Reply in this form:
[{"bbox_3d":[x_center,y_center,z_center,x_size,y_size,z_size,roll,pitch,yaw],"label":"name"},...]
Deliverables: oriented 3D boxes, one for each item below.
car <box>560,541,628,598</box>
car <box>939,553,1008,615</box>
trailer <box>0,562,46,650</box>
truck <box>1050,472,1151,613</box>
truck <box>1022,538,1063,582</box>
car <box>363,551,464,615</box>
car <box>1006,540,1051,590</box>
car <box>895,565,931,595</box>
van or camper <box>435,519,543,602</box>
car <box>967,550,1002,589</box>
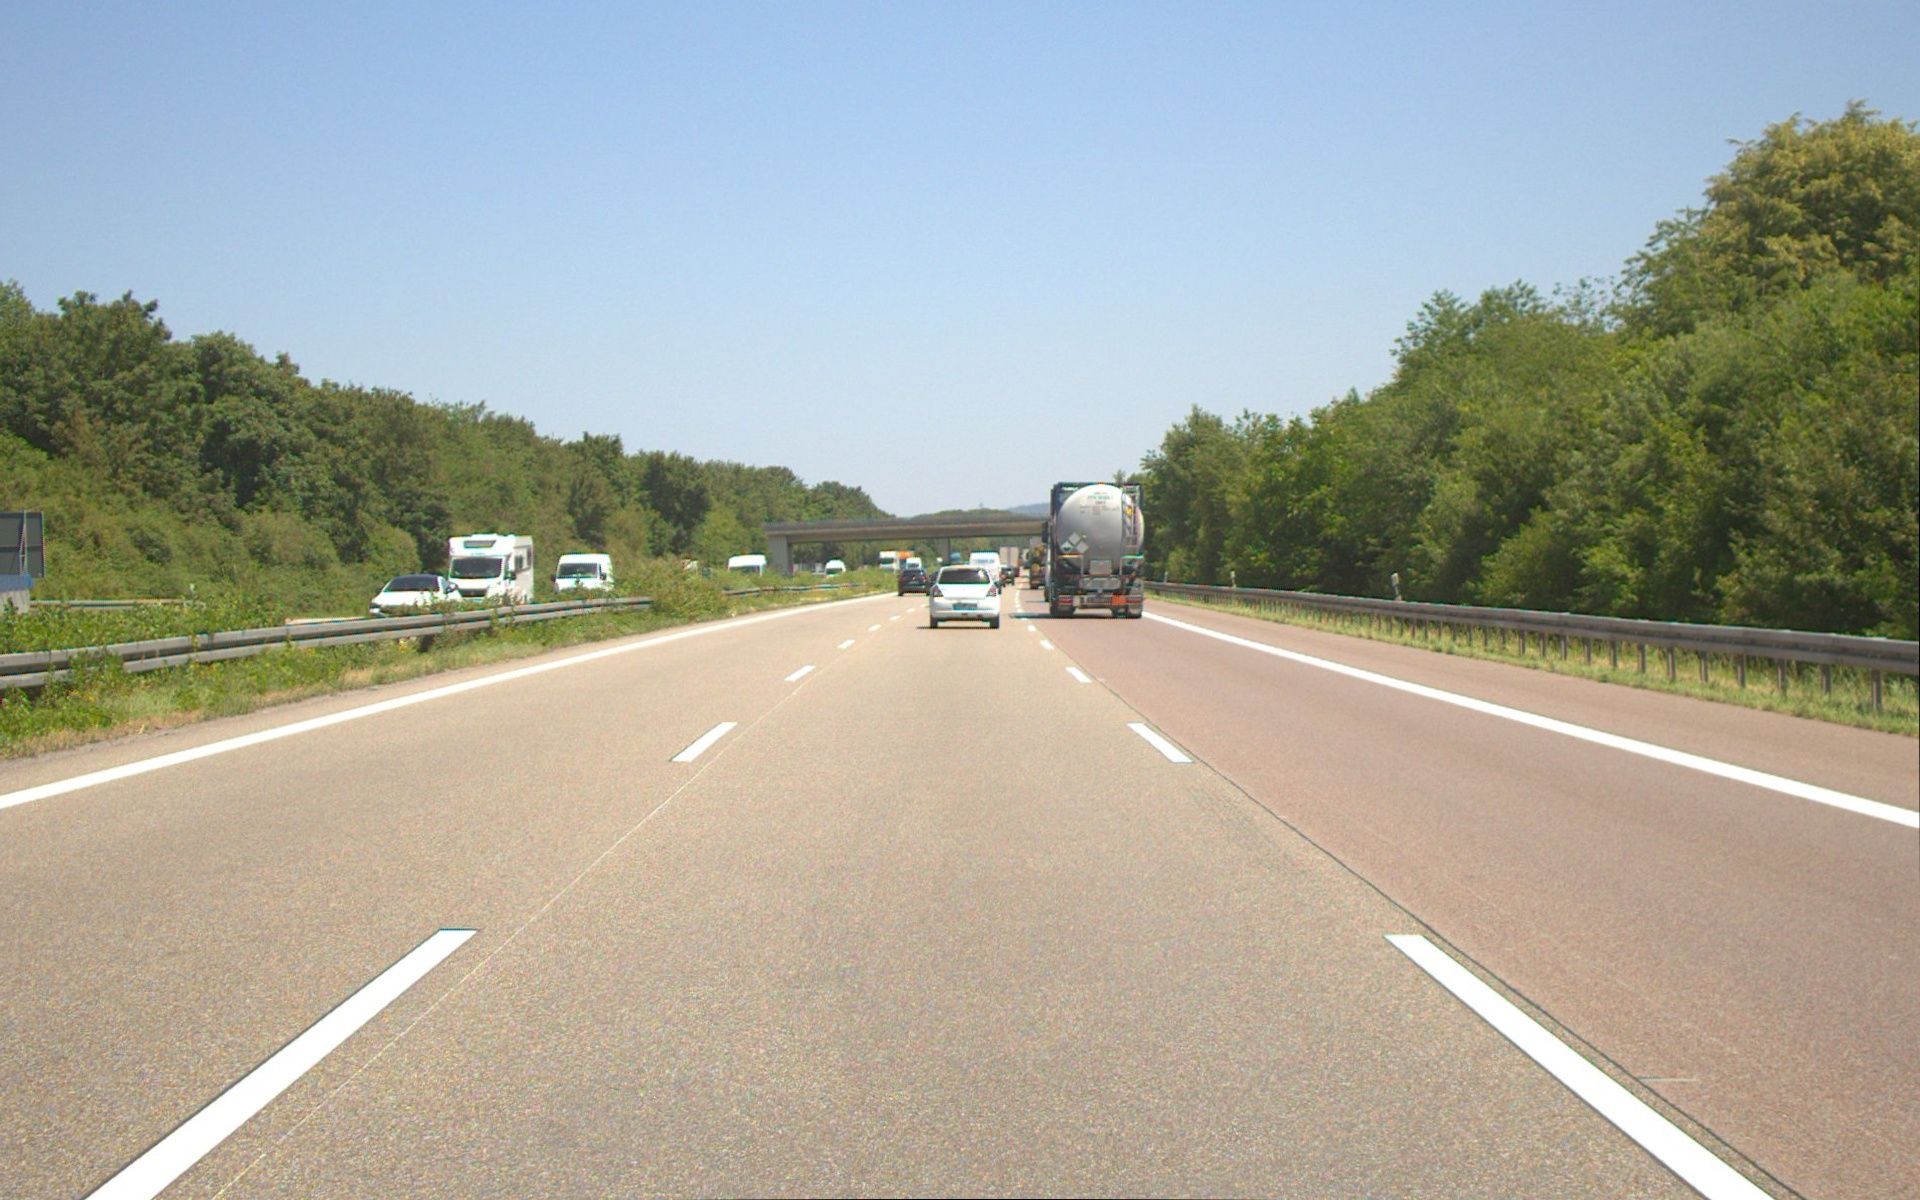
[{"bbox_3d":[-16.187,-1.364,152.309,2.215,2.433,6.419,-1,1,1],"label":"car"},{"bbox_3d":[0.303,-0.396,83.449,1.627,1.474,4.000,0,1,0],"label":"car"},{"bbox_3d":[-20.992,0.117,72.687,2.028,1.830,4.990,0,1,0],"label":"trailer"},{"bbox_3d":[4.166,-1.712,103.836,2.739,4.038,10.454,0,1,1],"label":"truck"},{"bbox_3d":[6.169,-3.005,257.943,2.915,3.229,6.344,0,0,1],"label":"truck"},{"bbox_3d":[-14.009,-0.449,88.396,1.812,1.590,5.010,0,1,0],"label":"car"},{"bbox_3d":[3.074,-1.568,155.189,1.993,2.217,4.786,0,1,1],"label":"car"},{"bbox_3d":[-2.704,-1.174,198.231,1.993,1.719,4.786,0,1,1],"label":"car"},{"bbox_3d":[-16.548,-1.403,121.226,2.513,2.839,8.026,0,1,2],"label":"van or camper"},{"bbox_3d":[1.470,-1.871,208.056,1.993,2.335,4.387,0,1,2],"label":"car"}]
